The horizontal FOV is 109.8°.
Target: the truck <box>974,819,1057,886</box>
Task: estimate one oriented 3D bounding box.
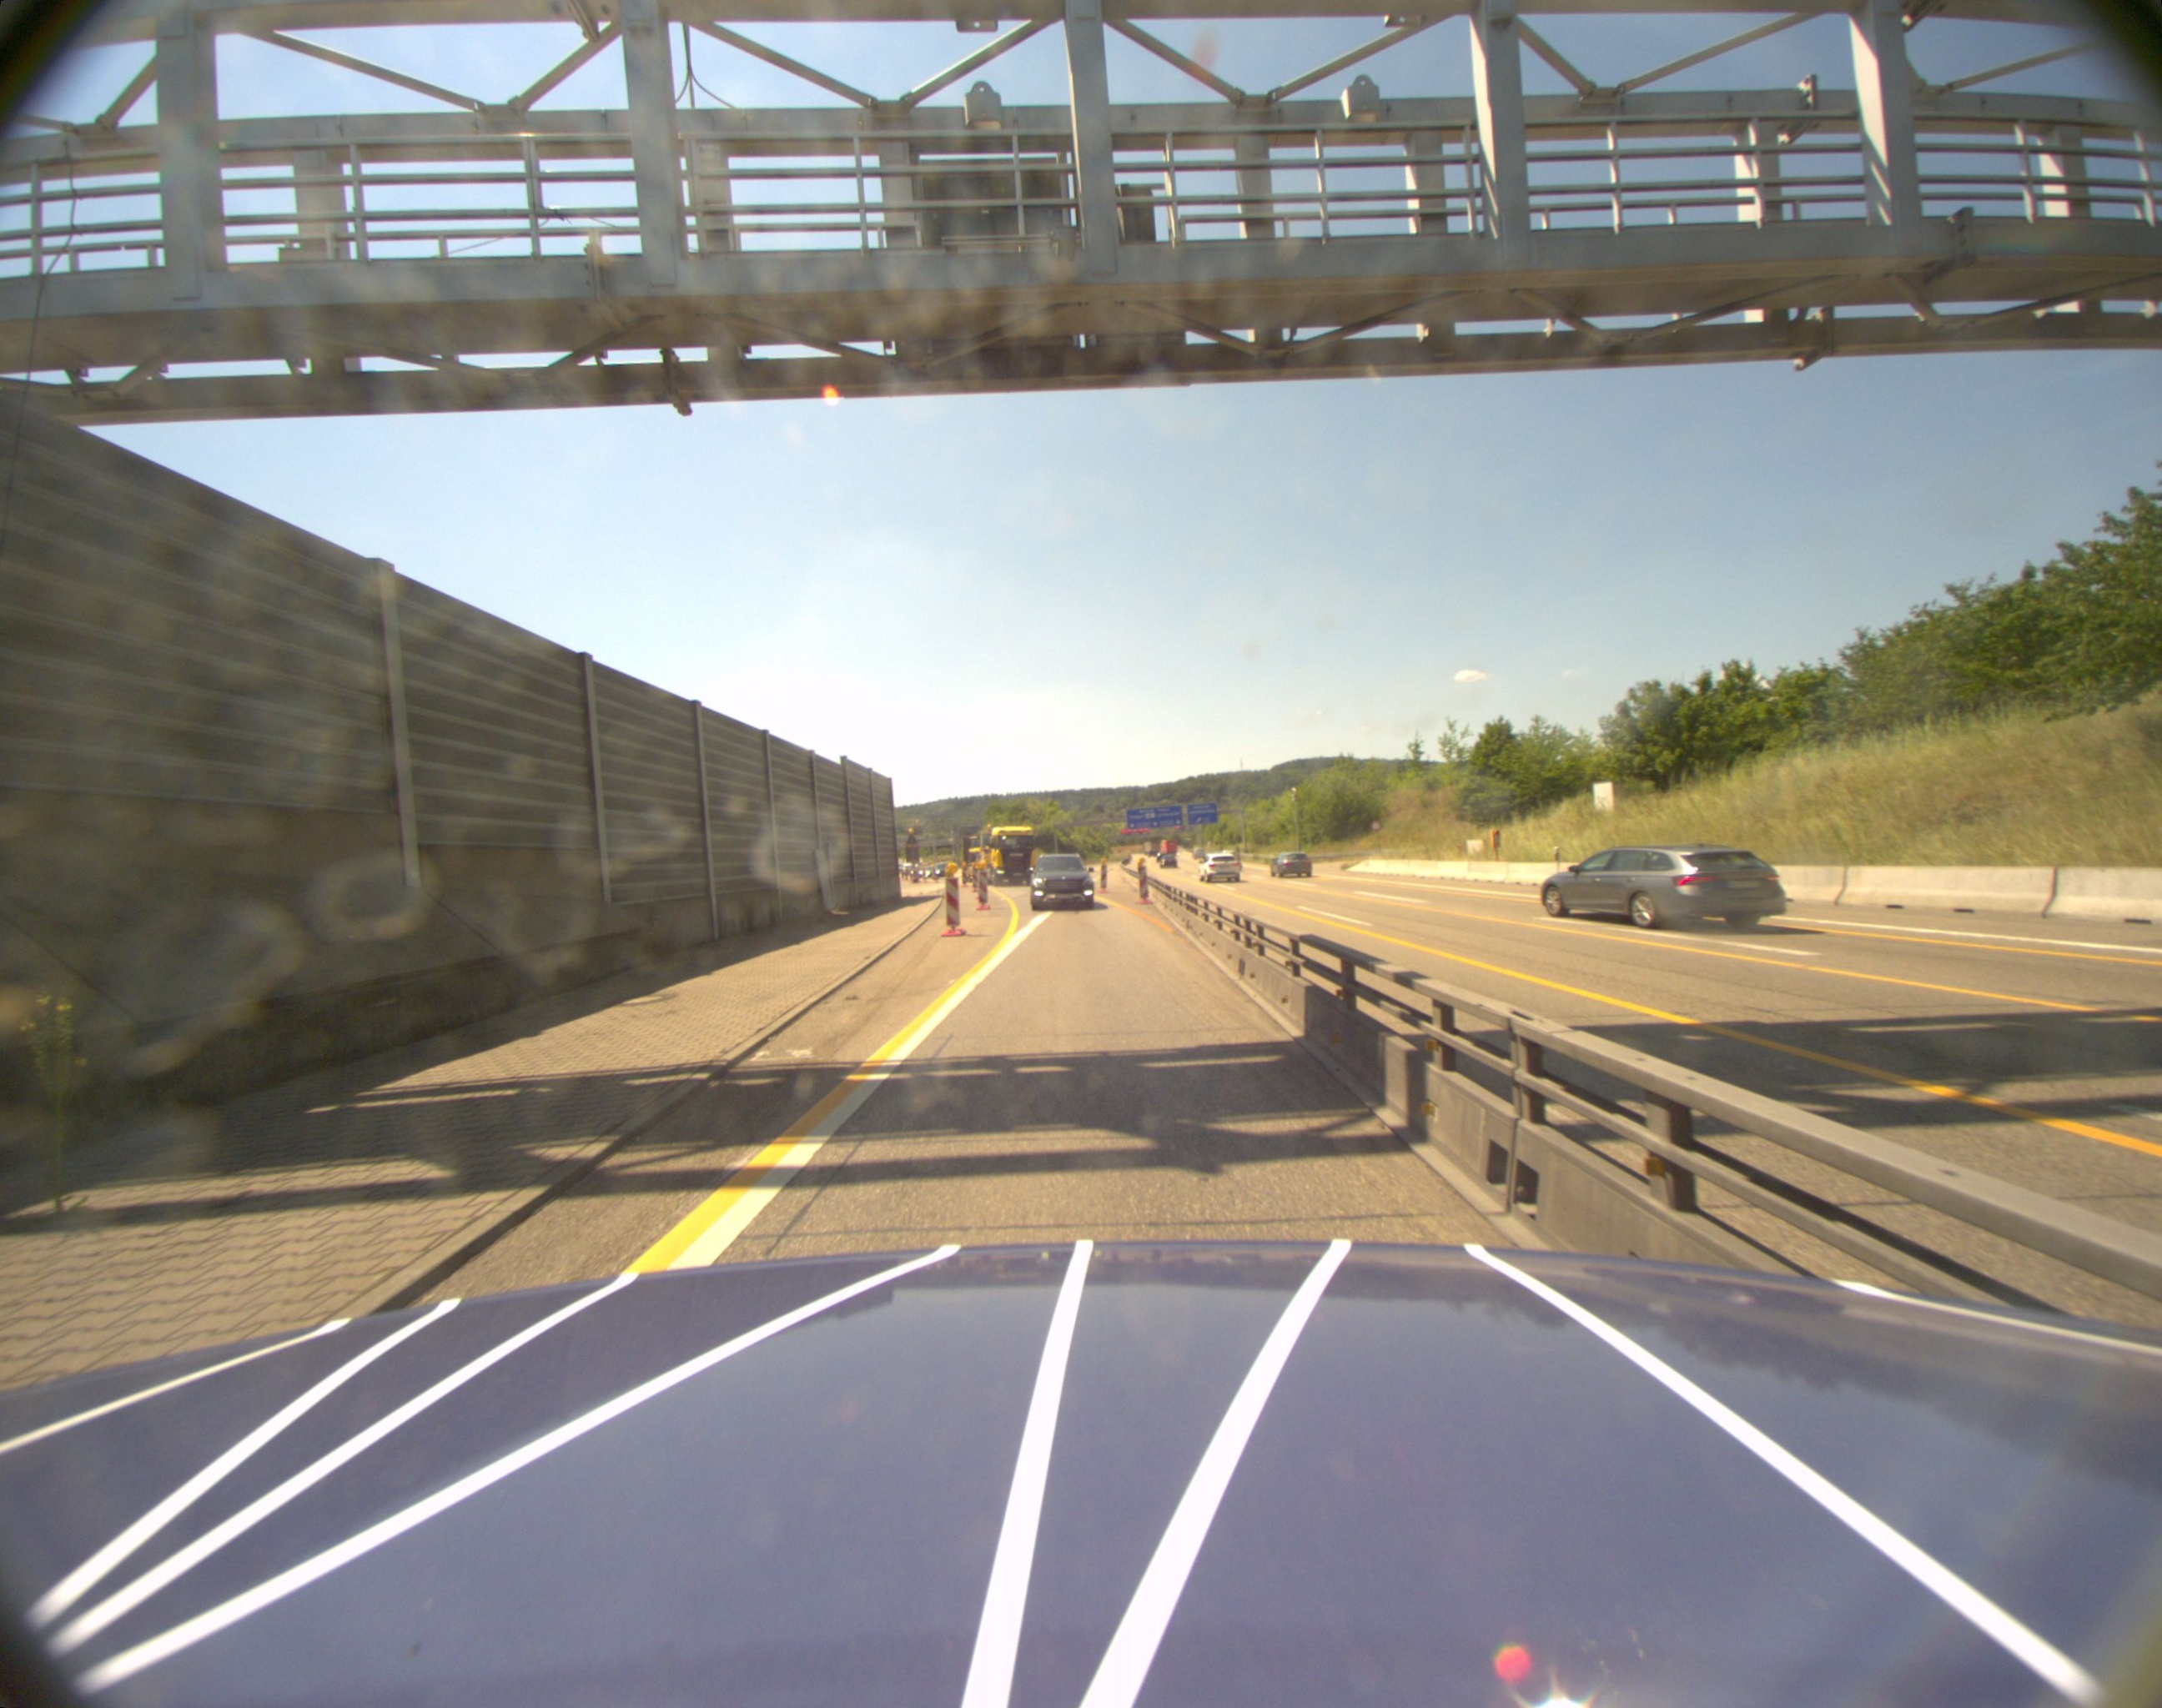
[{"bbox_3d":[-4.321,-0.003,48.548,3.234,3.639,7.073,-6,0,-19],"label":"truck"}]

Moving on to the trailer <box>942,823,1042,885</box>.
[{"bbox_3d":[-7.136,0.265,56.530,3.241,3.646,17.397,-6,0,-20],"label":"trailer"}]

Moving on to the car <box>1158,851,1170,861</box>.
[{"bbox_3d":[13.535,0.270,123.866,1.746,1.584,4.229,-2,0,4],"label":"car"}]

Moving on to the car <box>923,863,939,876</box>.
[{"bbox_3d":[-17.568,1.840,88.925,1.477,1.439,4.354,-2,0,-17],"label":"car"}]

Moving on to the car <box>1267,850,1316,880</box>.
[{"bbox_3d":[12.586,0.668,45.758,1.778,1.656,4.808,-2,0,2],"label":"car"}]

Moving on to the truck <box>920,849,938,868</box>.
[{"bbox_3d":[-32.807,1.084,163.186,3.239,3.646,17.406,-6,0,-12],"label":"truck"}]

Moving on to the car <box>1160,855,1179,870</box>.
[{"bbox_3d":[10.231,0.989,88.431,1.778,1.584,4.987,-2,0,2],"label":"car"}]

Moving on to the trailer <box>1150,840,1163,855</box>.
[{"bbox_3d":[23.130,-2.072,234.320,2.442,4.272,13.808,-4,0,1],"label":"trailer"}]

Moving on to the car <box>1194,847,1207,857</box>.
[{"bbox_3d":[21.282,-0.375,135.899,1.691,1.824,4.787,-1,1,2],"label":"car"}]

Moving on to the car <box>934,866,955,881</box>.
[{"bbox_3d":[-14.223,2.017,78.904,1.477,1.439,4.354,-4,0,-18],"label":"car"}]

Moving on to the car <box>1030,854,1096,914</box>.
[{"bbox_3d":[-0.686,0.896,24.782,1.820,1.685,4.491,-2,0,-5],"label":"car"}]

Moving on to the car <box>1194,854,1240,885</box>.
[{"bbox_3d":[7.510,0.844,42.394,1.778,1.568,4.446,-2,0,0],"label":"car"}]

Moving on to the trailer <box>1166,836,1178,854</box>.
[{"bbox_3d":[22.729,-2.242,190.784,2.343,4.078,13.264,-3,1,5],"label":"trailer"}]

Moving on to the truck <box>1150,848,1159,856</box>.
[{"bbox_3d":[19.022,-0.466,197.306,1.998,1.862,4.763,-3,0,4],"label":"truck"}]

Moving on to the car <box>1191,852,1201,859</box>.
[{"bbox_3d":[23.474,0.246,155.460,1.691,1.386,4.001,-1,1,5],"label":"car"}]

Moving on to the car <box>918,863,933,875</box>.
[{"bbox_3d":[-19.987,1.878,97.638,1.477,1.439,4.355,-2,0,-16],"label":"car"}]

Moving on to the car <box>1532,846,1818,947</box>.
[{"bbox_3d":[10.488,0.669,13.967,1.778,1.506,4.565,-2,0,2],"label":"car"}]

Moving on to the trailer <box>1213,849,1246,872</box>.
[{"bbox_3d":[12.847,0.562,66.230,1.951,1.794,5.524,-2,0,2],"label":"trailer"}]
